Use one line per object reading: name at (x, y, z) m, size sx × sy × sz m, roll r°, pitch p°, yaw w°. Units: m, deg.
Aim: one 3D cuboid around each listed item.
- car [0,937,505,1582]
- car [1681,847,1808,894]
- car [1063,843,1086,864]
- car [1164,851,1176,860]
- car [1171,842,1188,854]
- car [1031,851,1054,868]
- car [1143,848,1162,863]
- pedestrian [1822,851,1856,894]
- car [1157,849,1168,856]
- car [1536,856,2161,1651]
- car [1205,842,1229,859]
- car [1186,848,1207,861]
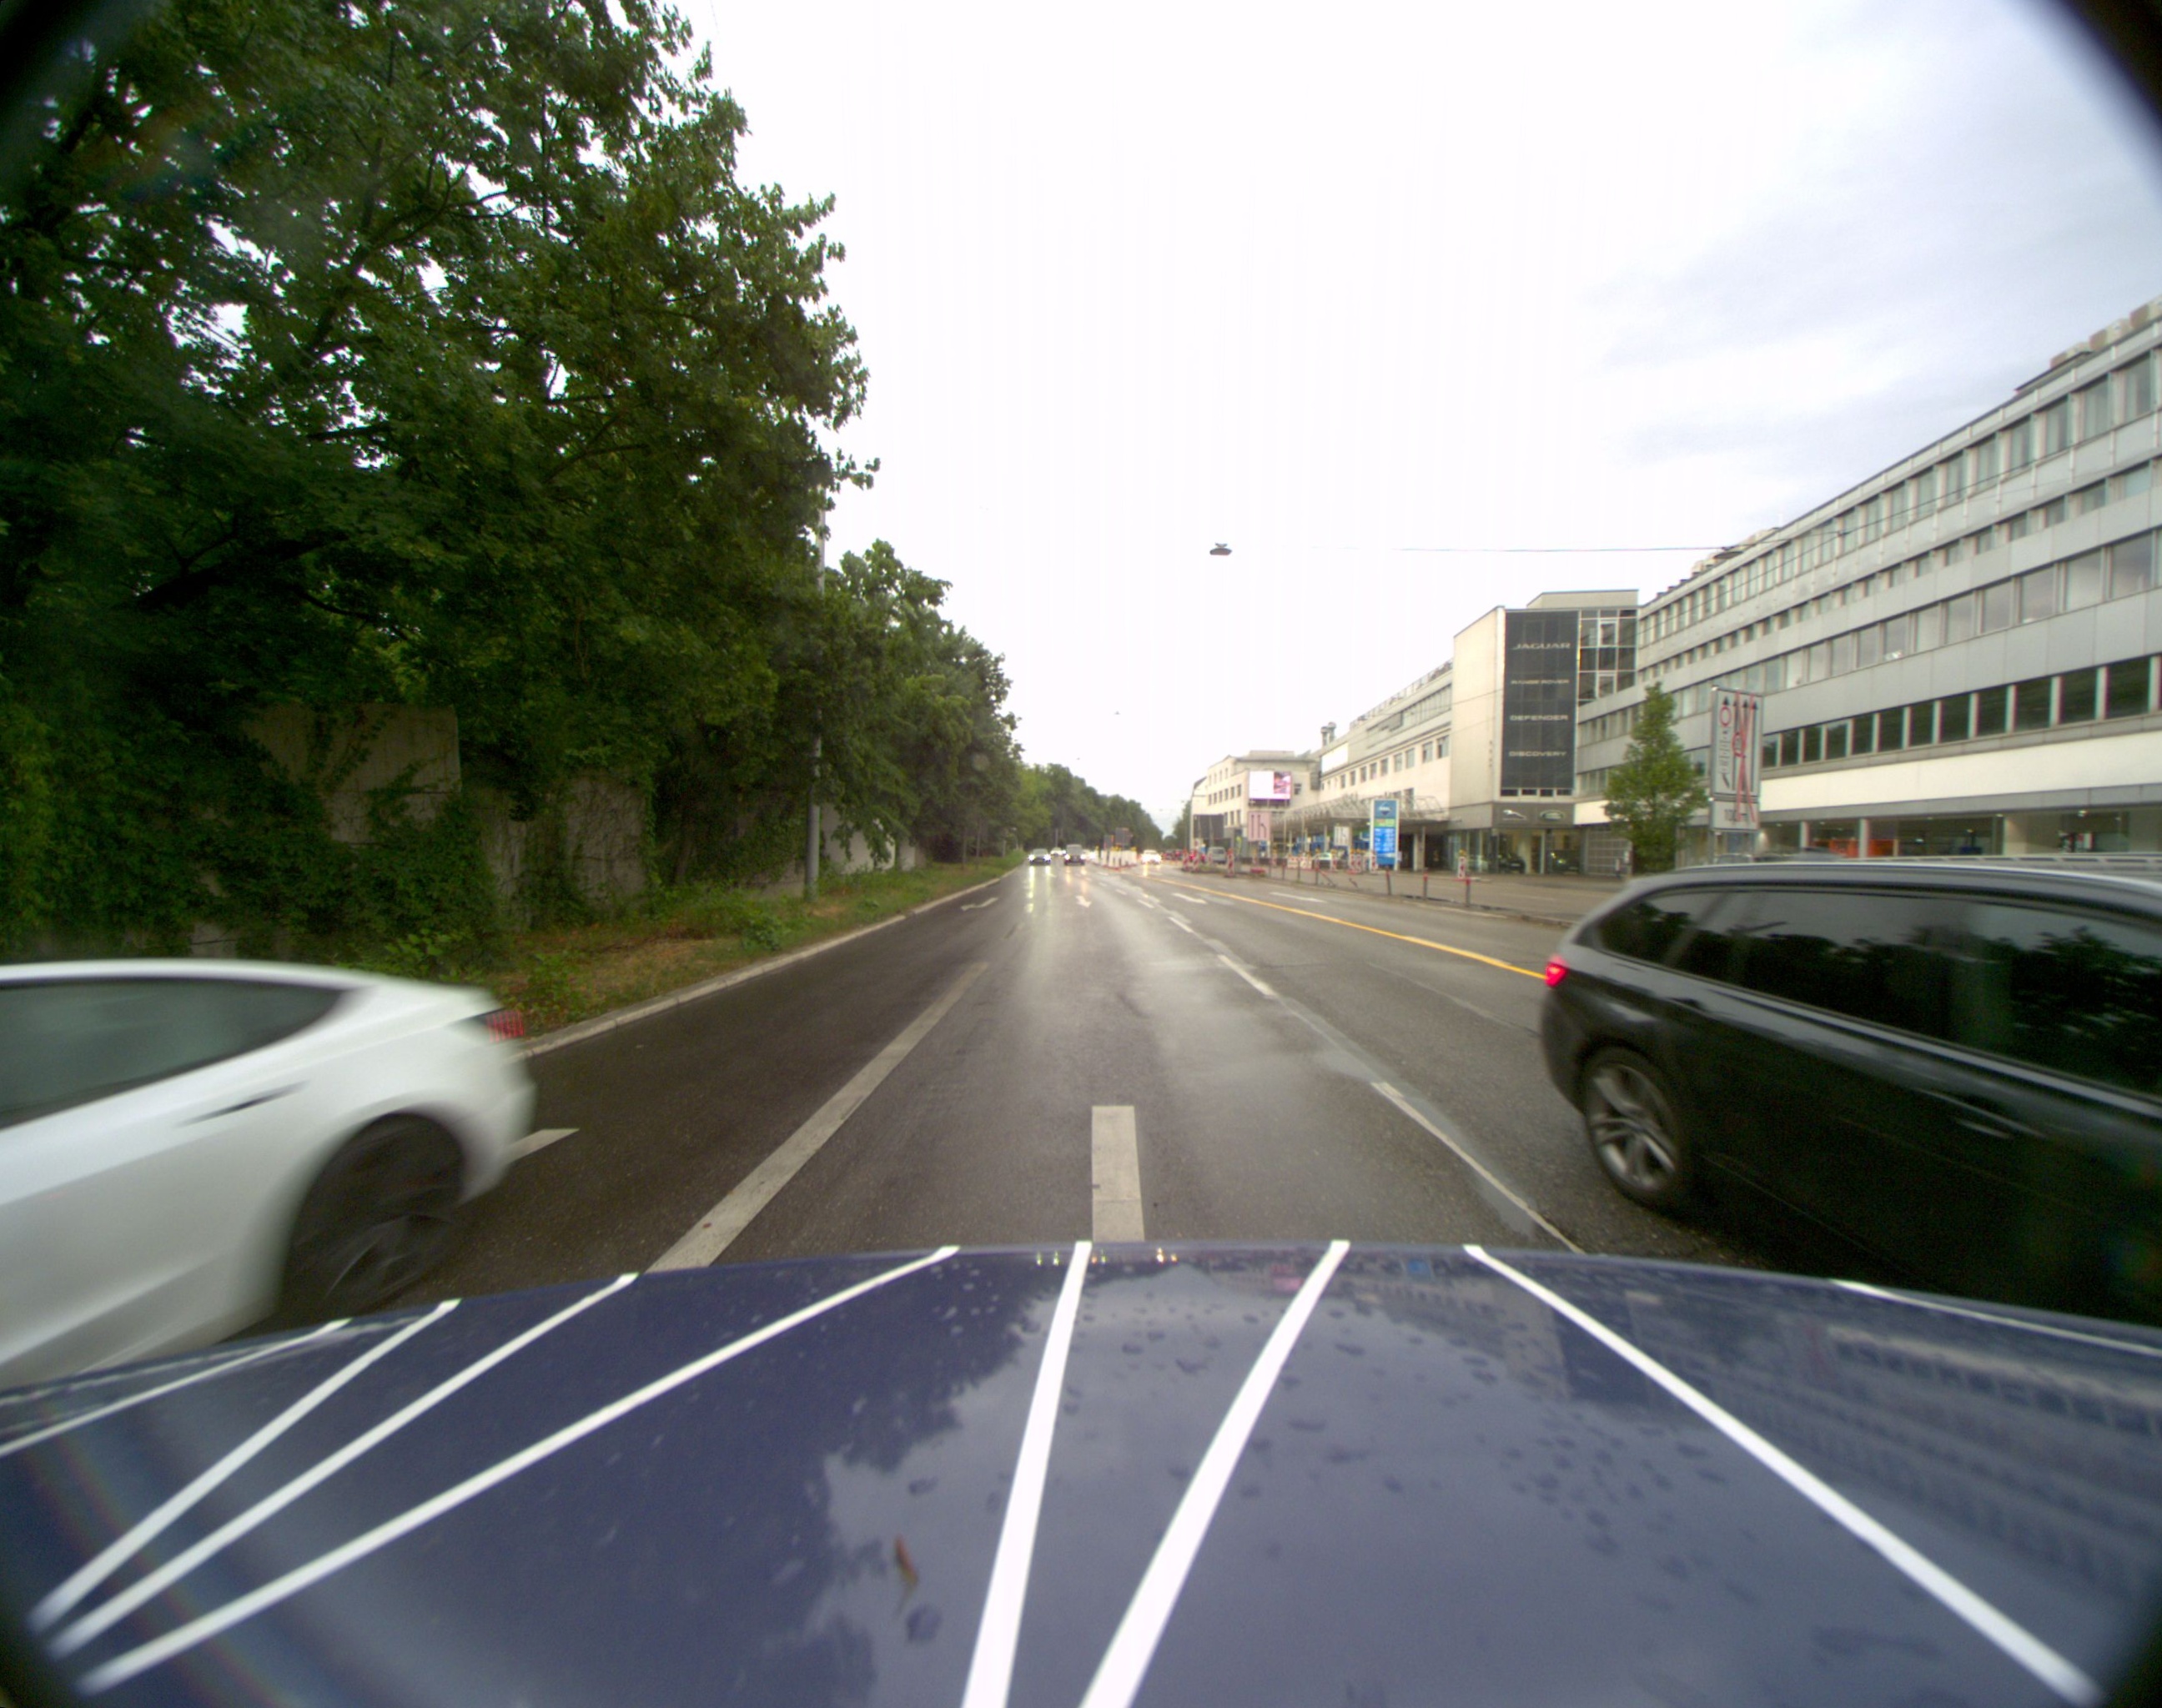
car at (-3.727, 1.143, 1.256) m, size 1.838 × 1.424 × 4.275 m, roll -3°, pitch 1°, yaw 9°
car at (28.350, 0.639, 32.702) m, size 1.851 × 1.769 × 4.733 m, roll 2°, pitch 1°, yaw 10°
car at (-0.546, -0.043, 68.568) m, size 1.998 × 1.740 × 3.999 m, roll 2°, pitch 1°, yaw 1°
car at (15.885, 0.280, 135.811) m, size 1.812 × 1.549 × 4.301 m, roll 1°, pitch 1°, yaw 2°
car at (14.429, -0.845, 111.902) m, size 1.850 × 1.727 × 4.603 m, roll 1°, pitch 1°, yaw 0°
car at (-3.501, 0.469, 69.684) m, size 1.742 × 1.477 × 3.917 m, roll -2°, pitch 1°, yaw 1°
car at (7.378, 0.124, 78.651) m, size 1.649 × 1.477 × 3.999 m, roll 2°, pitch 1°, yaw 1°
pedestrian at (30.581, 0.741, 30.673) m, size 0.719 × 1.722 × 0.538 m, roll 2°, pitch 1°, yaw 14°
car at (19.894, -0.410, 186.567) m, size 1.985 × 1.697 × 4.829 m, roll 1°, pitch 1°, yaw -2°
car at (3.047, 0.859, 1.522) m, size 1.764 × 1.442 × 4.176 m, roll -3°, pitch 2°, yaw 1°
car at (14.493, -0.377, 81.109) m, size 1.738 × 1.776 × 4.301 m, roll 2°, pitch 1°, yaw 1°
car at (14.344, -0.016, 94.734) m, size 1.834 × 1.493 × 4.372 m, roll 2°, pitch 1°, yaw -1°
